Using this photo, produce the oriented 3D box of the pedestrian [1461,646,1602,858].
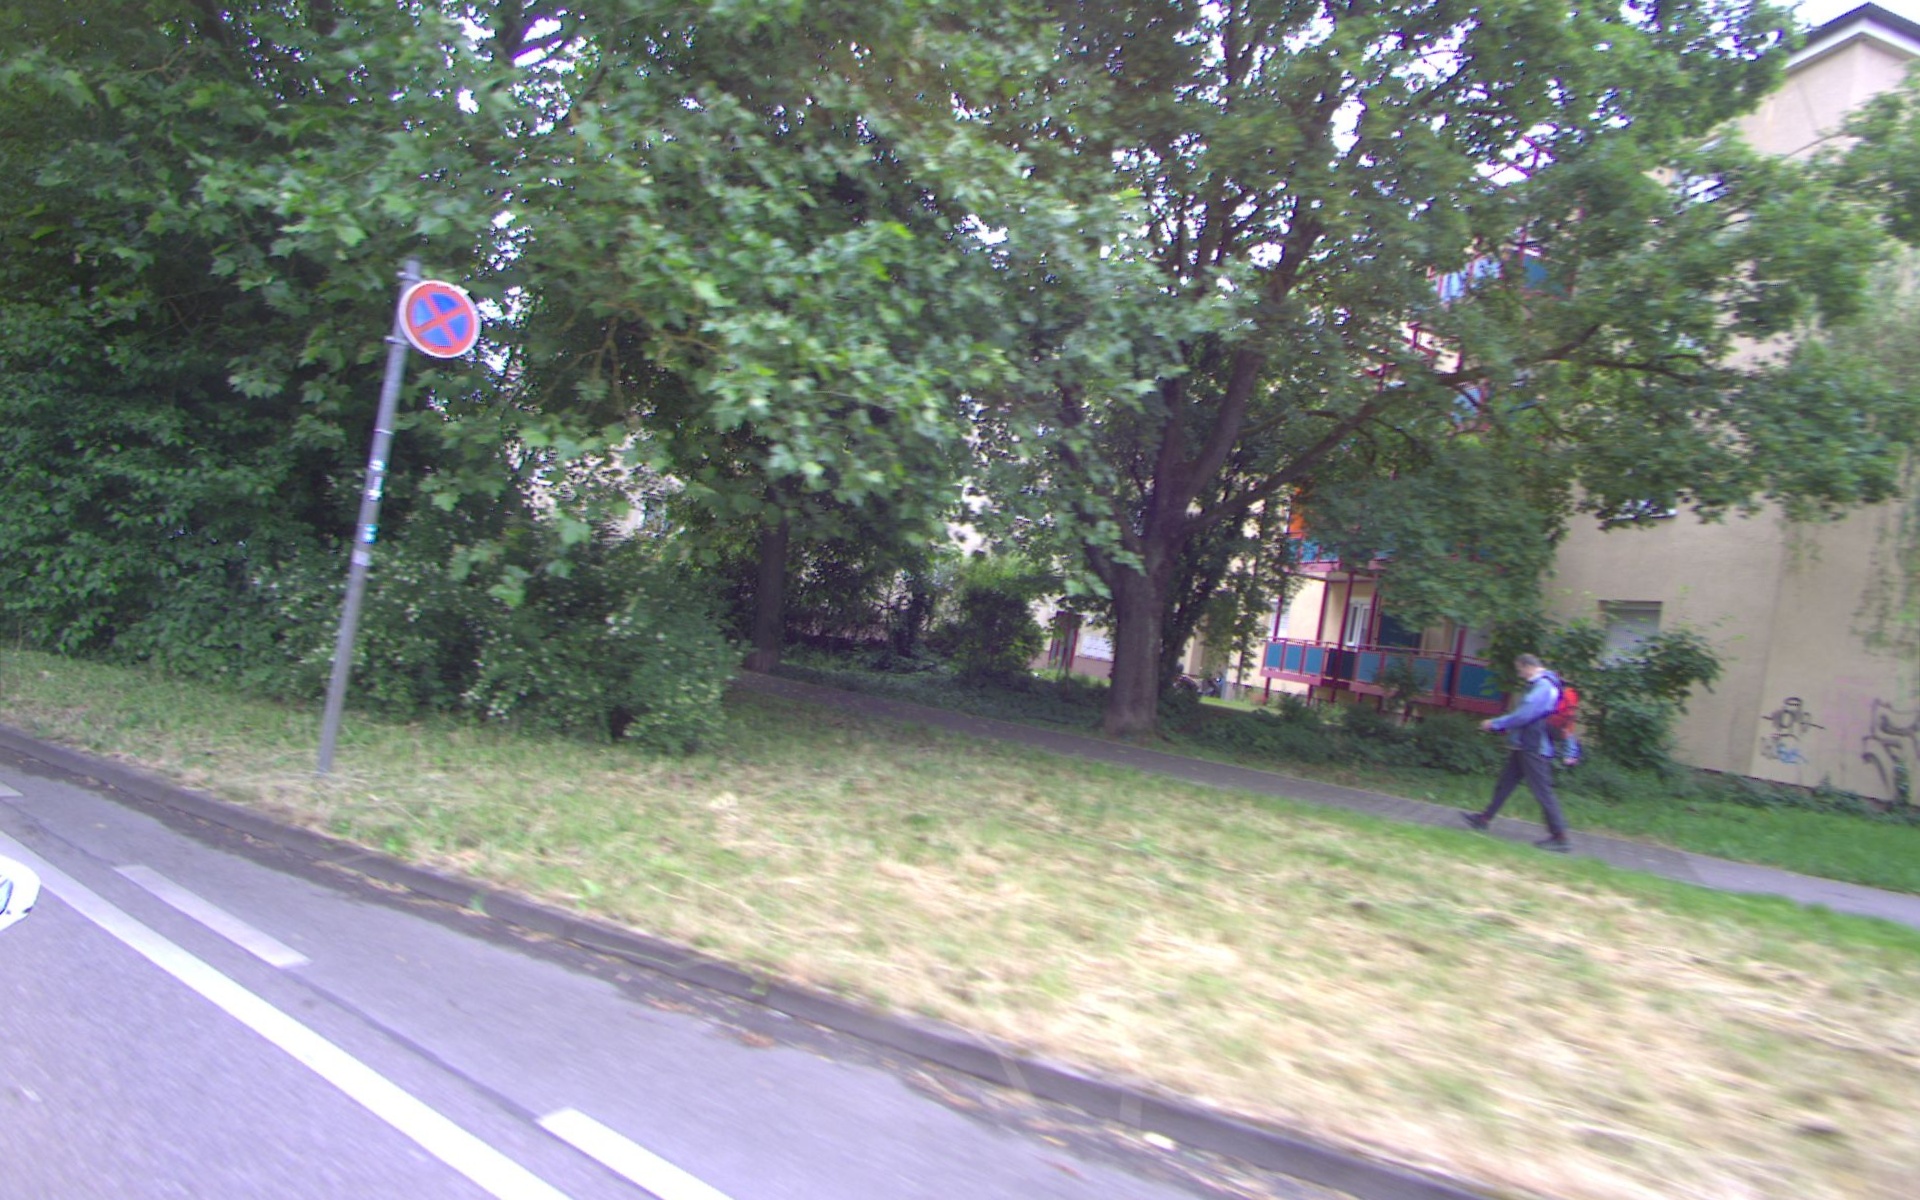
[{"bbox_3d":[5.445,1.423,9.649,0.879,1.816,0.759,8,-1,22],"label":"pedestrian"}]
